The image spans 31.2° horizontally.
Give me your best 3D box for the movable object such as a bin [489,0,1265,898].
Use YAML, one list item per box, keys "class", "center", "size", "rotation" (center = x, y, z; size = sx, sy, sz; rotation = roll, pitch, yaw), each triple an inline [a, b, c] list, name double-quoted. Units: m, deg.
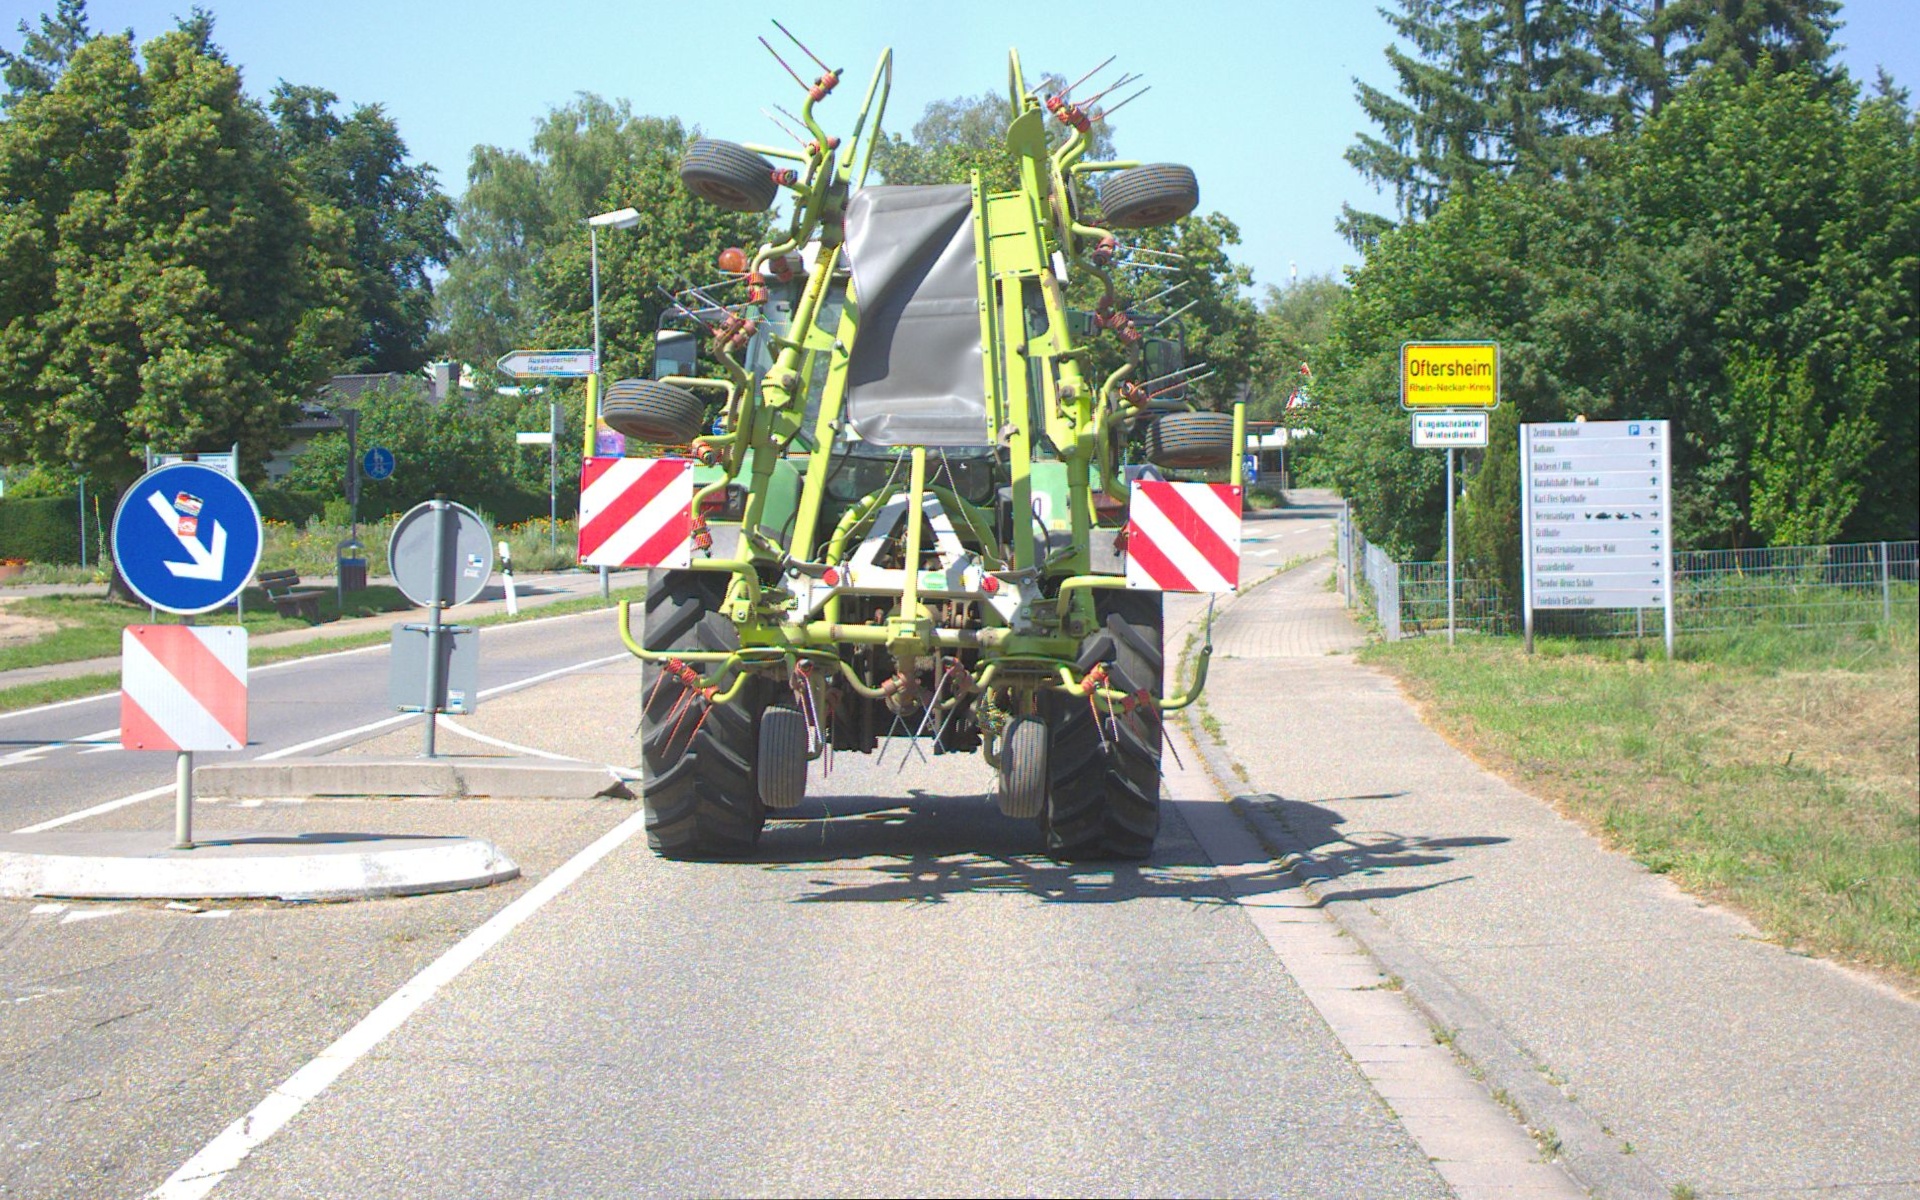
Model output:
- class: "movable object such as a bin"
  center: [-0.315, -0.773, 17.551]
  size: [2.853, 3.529, 9.701]
  rotation: [0, 1, 0]
